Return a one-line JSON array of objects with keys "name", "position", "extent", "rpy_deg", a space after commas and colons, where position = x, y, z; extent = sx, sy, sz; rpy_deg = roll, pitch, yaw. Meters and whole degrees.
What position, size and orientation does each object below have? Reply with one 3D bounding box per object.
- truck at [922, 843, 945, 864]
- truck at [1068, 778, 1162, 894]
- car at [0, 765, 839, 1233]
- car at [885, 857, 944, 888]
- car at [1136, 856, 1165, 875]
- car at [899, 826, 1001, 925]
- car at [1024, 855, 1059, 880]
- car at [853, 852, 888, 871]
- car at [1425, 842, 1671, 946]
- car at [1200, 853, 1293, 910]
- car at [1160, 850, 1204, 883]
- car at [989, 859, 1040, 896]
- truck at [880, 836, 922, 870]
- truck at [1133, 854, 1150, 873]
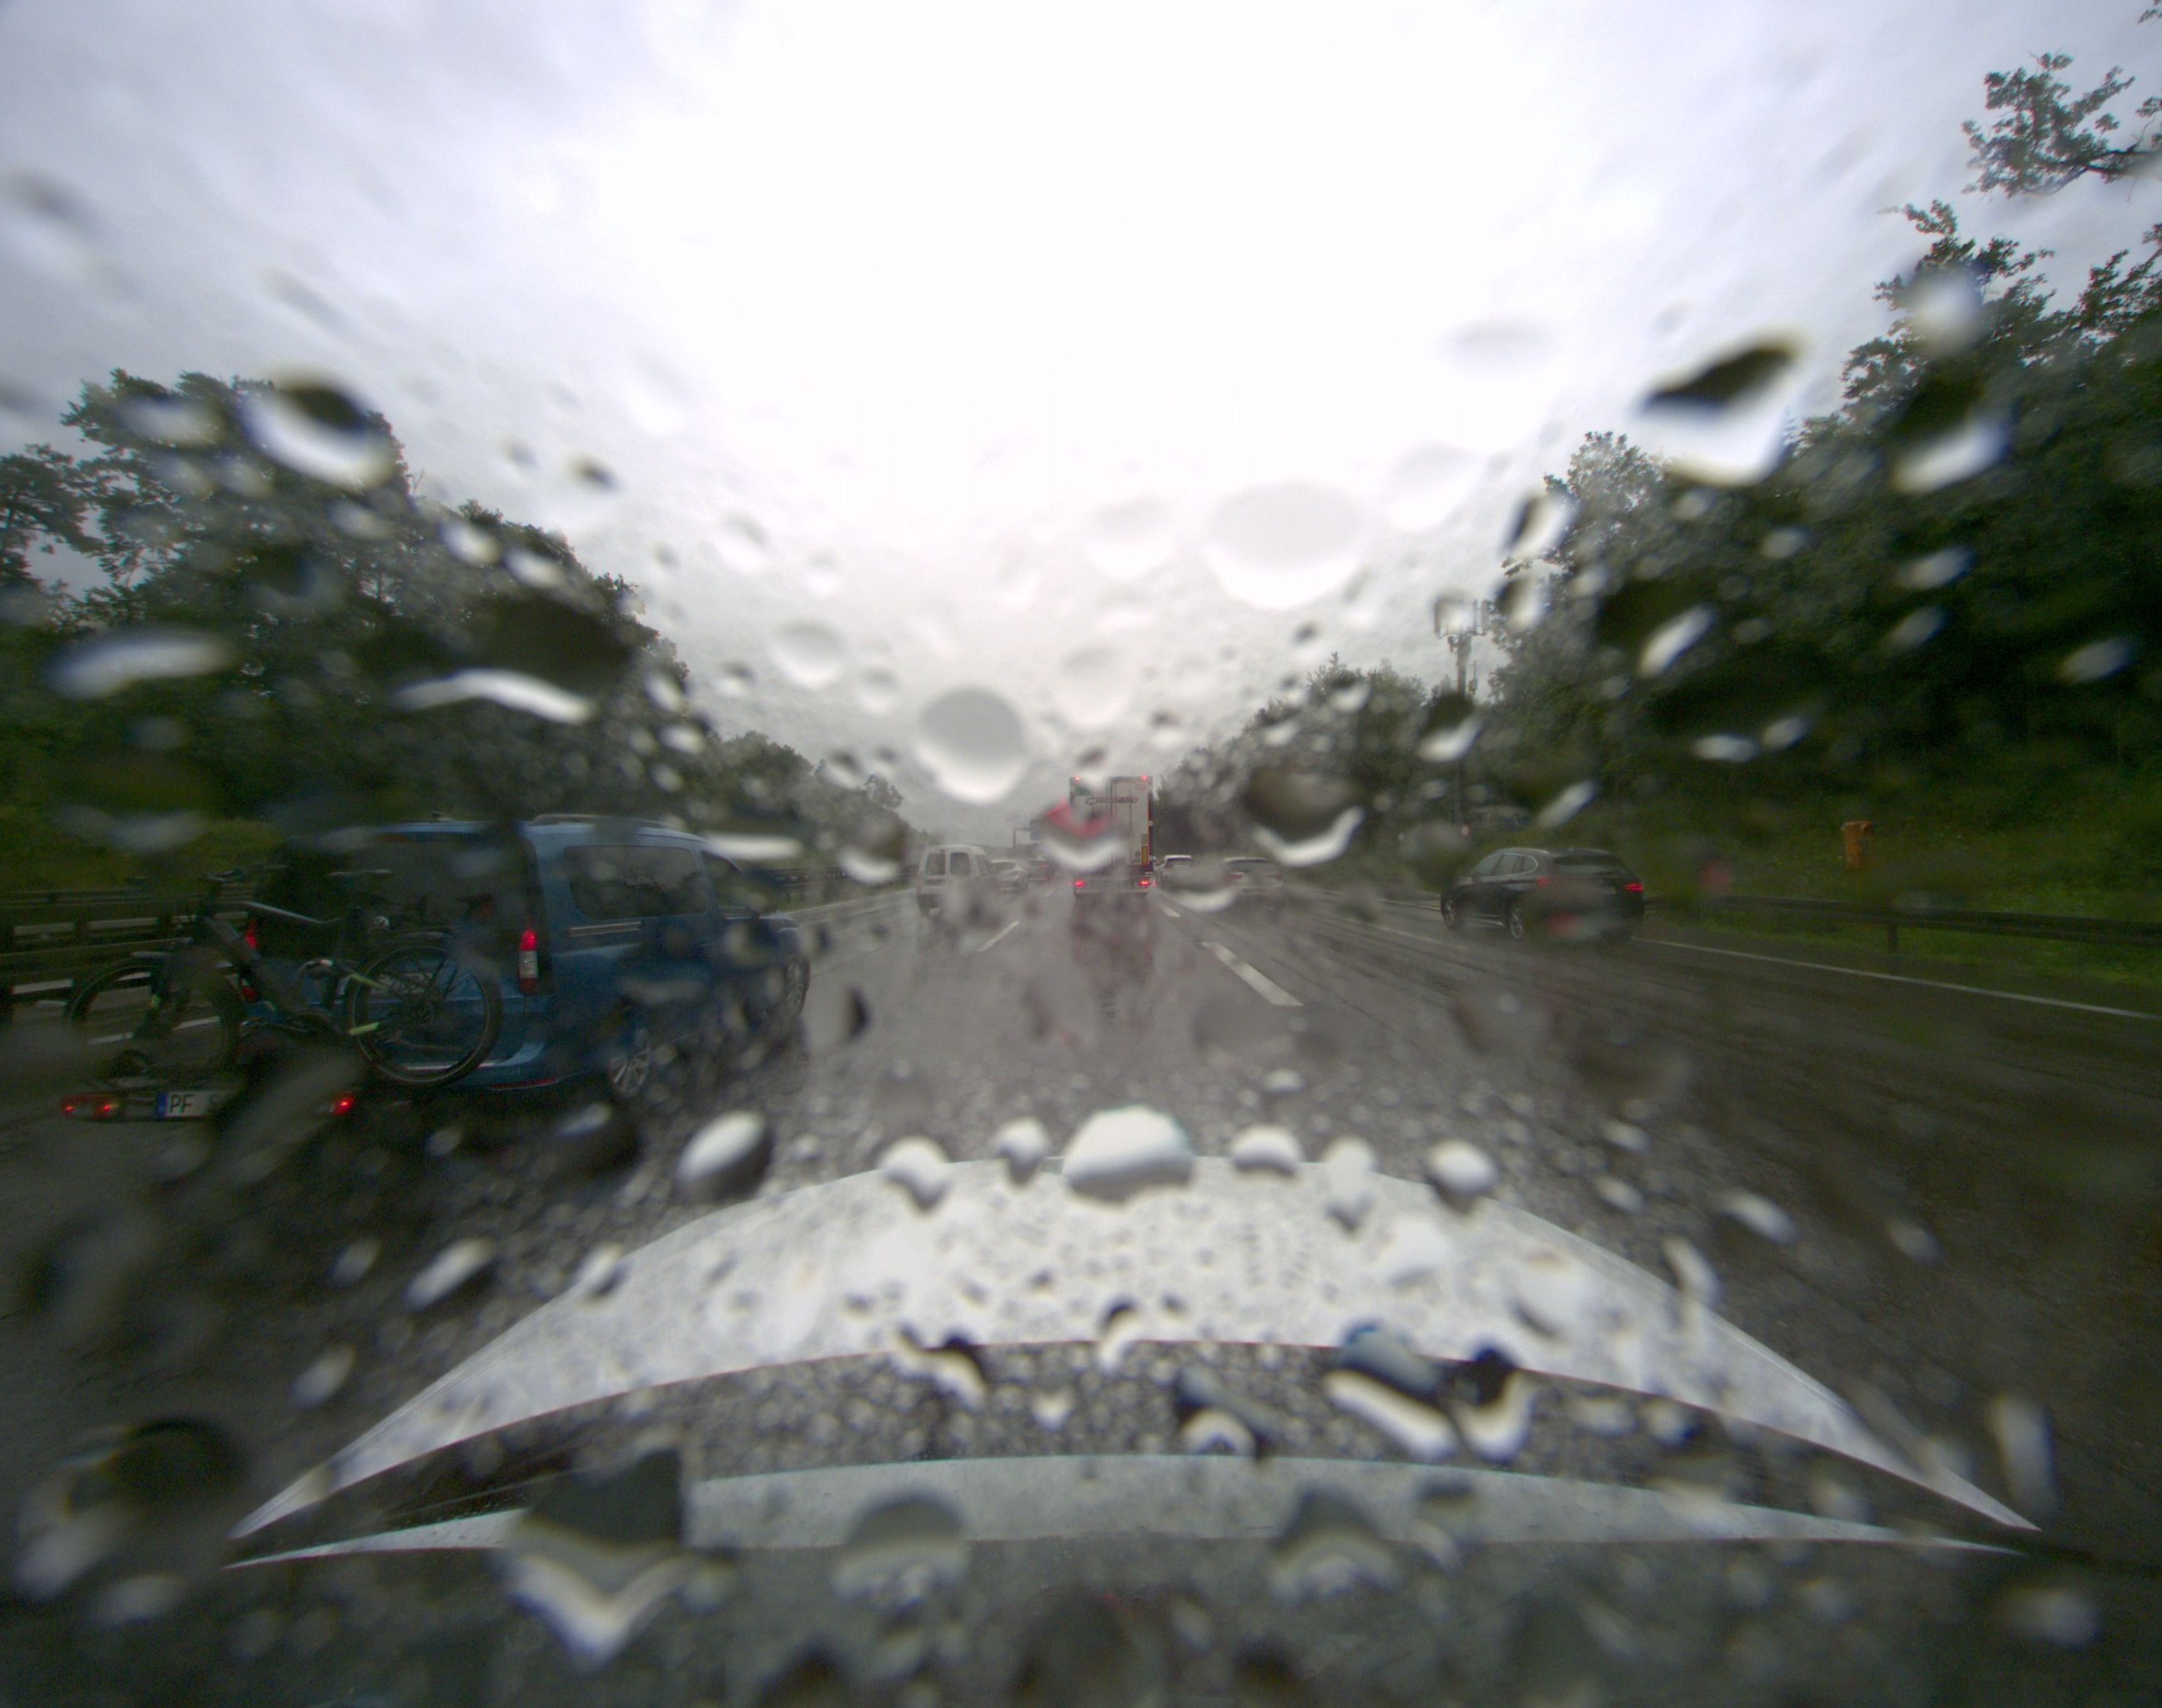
[{"name": "truck", "position": [-27.595, -0.033, 152.152], "extent": [3.010, 3.818, 6.264], "rpy_deg": [-1, 0, 0]}, {"name": "truck", "position": [1.211, -0.499, 30.832], "extent": [2.862, 3.562, 11.305], "rpy_deg": [-1, -1, 2]}, {"name": "car", "position": [-3.765, 0.598, 5.880], "extent": [2.260, 1.912, 5.020], "rpy_deg": [-1, 0, 3]}, {"name": "car", "position": [-8.821, 0.942, 43.596], "extent": [2.083, 1.504, 4.755], "rpy_deg": [-1, 0, 1]}, {"name": "car", "position": [5.430, 0.910, 64.147], "extent": [1.999, 1.394, 4.569], "rpy_deg": [-1, 0, 1]}, {"name": "car", "position": [-3.670, 0.566, 23.871], "extent": [2.206, 2.573, 5.013], "rpy_deg": [-1, 0, -1]}, {"name": "car", "position": [-2.585, 0.879, 54.307], "extent": [1.838, 1.591, 4.469], "rpy_deg": [-1, 0, 3]}, {"name": "car", "position": [-18.652, 0.632, 72.187], "extent": [1.853, 1.596, 4.003], "rpy_deg": [-1, 0, 3]}, {"name": "car", "position": [8.201, 0.620, 14.945], "extent": [1.981, 1.583, 4.771], "rpy_deg": [-1, 0, 3]}, {"name": "car", "position": [4.492, 0.690, 22.741], "extent": [1.882, 1.425, 4.486], "rpy_deg": [-1, 0, 3]}, {"name": "car", "position": [4.881, 0.572, 39.909], "extent": [1.838, 1.522, 4.347], "rpy_deg": [-1, 0, 3]}, {"name": "car", "position": [-3.029, 1.046, 37.709], "extent": [1.838, 1.591, 4.074], "rpy_deg": [-1, 0, 2]}, {"name": "truck", "position": [-22.197, -0.140, 101.086], "extent": [2.694, 3.931, 10.029], "rpy_deg": [-1, 0, 1]}, {"name": "truck", "position": [9.462, 1.421, 127.935], "extent": [2.579, 2.941, 6.460], "rpy_deg": [-1, 0, 3]}]
